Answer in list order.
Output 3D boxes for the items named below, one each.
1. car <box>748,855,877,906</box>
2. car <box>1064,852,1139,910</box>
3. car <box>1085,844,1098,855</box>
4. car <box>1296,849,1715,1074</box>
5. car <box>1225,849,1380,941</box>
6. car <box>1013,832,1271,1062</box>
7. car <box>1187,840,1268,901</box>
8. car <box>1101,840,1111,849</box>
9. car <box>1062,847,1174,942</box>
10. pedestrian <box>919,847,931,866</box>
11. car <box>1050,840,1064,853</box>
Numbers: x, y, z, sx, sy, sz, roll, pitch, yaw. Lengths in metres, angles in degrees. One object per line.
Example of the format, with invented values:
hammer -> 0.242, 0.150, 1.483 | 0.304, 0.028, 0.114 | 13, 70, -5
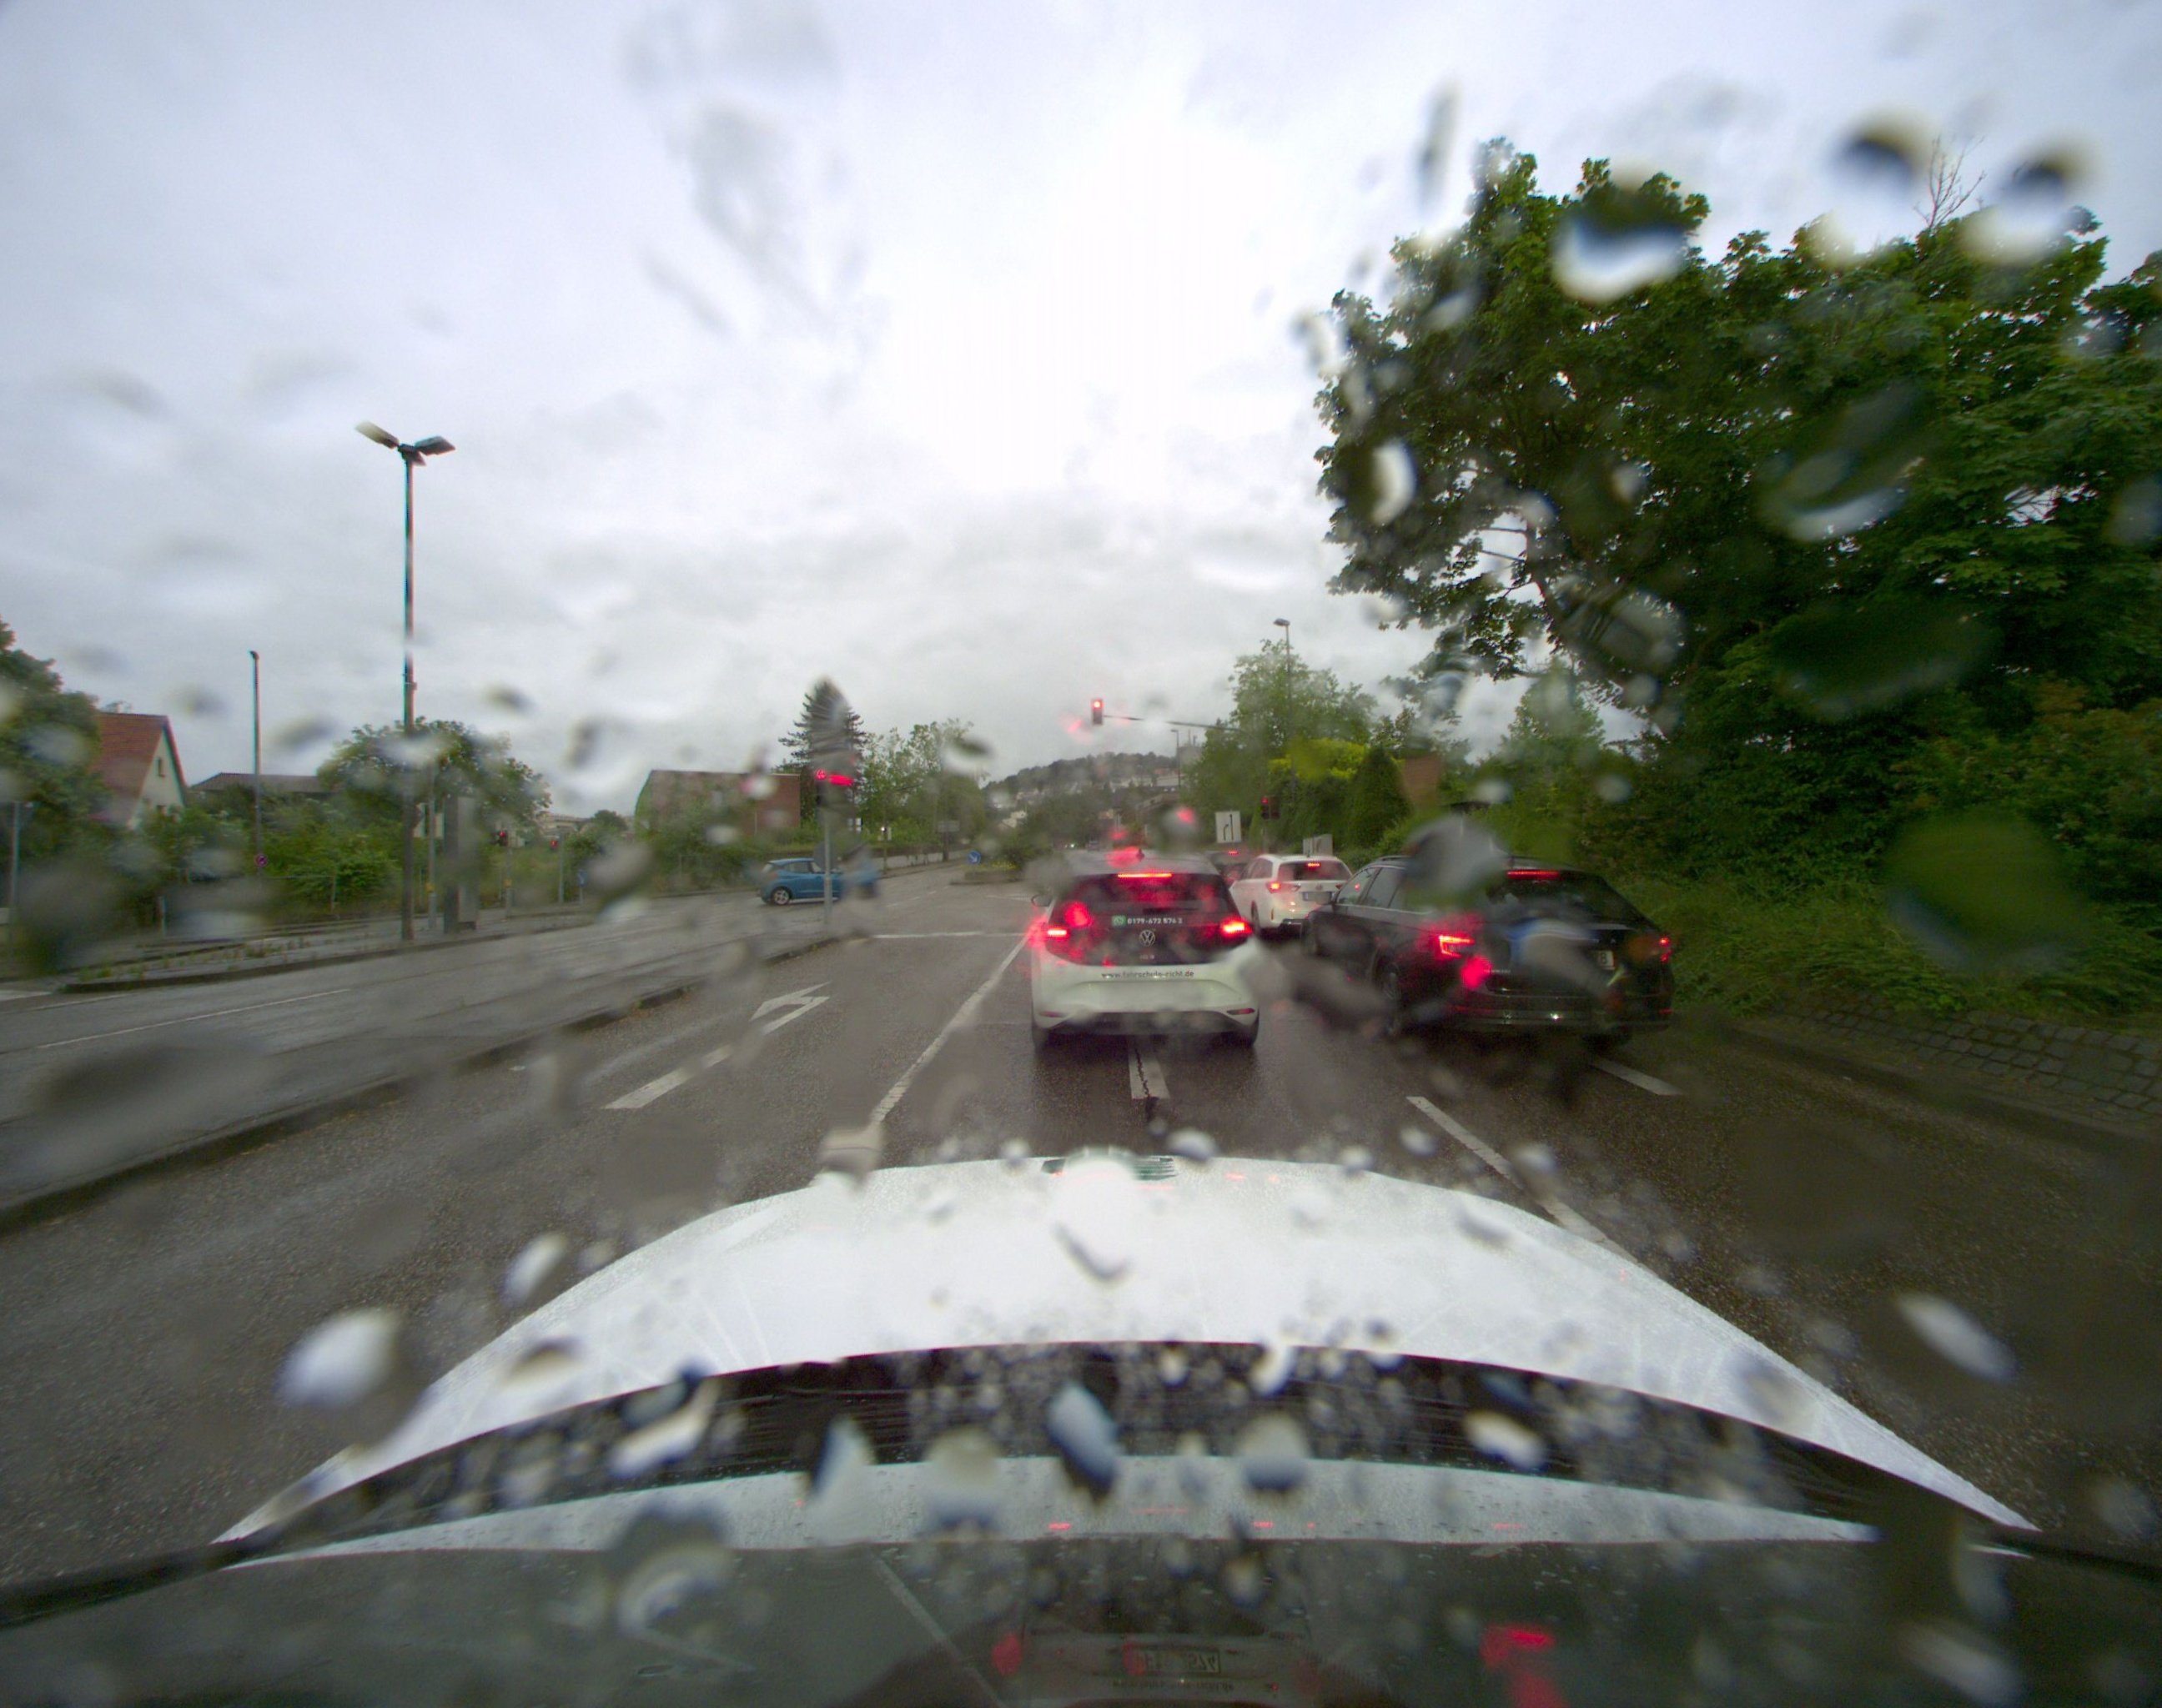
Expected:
car -> -8.929, 0.841, 27.112 | 3.760, 1.418, 1.750 | -3, 1, -29
car -> 0.542, 0.646, 21.797 | 1.831, 1.400, 3.832 | 0, 0, 1
car -> 1.620, -0.719, 127.128 | 1.769, 1.581, 4.002 | -3, 0, 2
car -> 3.354, 0.690, 7.528 | 1.830, 1.466, 4.353 | 0, 0, 3
car -> 3.877, 0.641, 15.008 | 1.831, 1.466, 4.118 | 0, 0, 1
car -> 0.484, 0.642, 8.085 | 1.831, 1.629, 4.617 | 0, 0, 1
car -> 4.116, 0.443, 23.448 | 1.769, 1.581, 4.002 | 0, 0, 2
car -> 4.862, -1.901, 157.668 | 1.769, 1.581, 4.002 | -3, 0, 2
car -> 0.651, 0.644, 15.324 | 1.831, 1.555, 4.176 | 0, 0, 1
pedestrian -> -13.261, 0.226, 69.379 | 0.757, 1.568, 0.825 | -4, 0, 1
car -> -4.125, -1.269, 140.759 | 1.986, 2.014, 4.002 | -1, -1, 2
